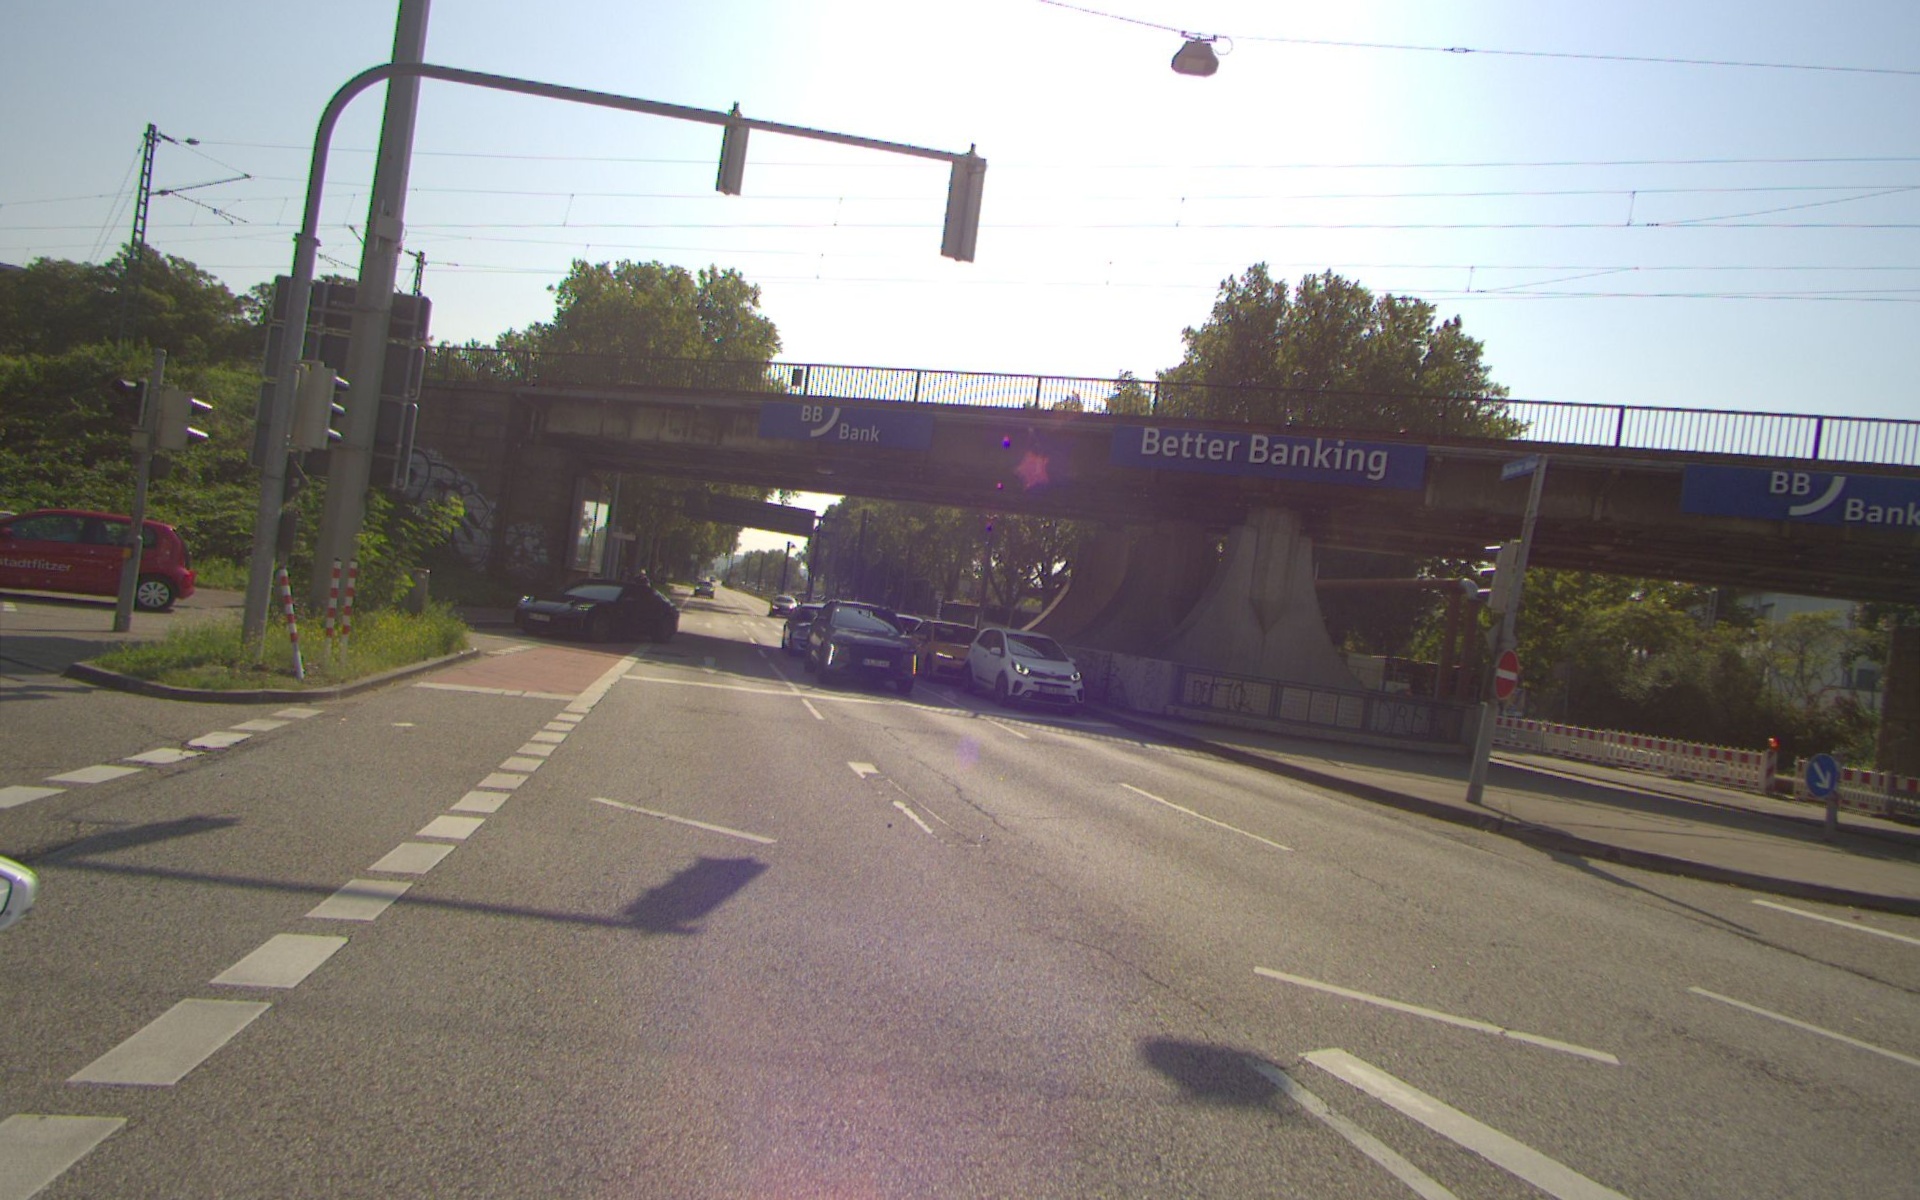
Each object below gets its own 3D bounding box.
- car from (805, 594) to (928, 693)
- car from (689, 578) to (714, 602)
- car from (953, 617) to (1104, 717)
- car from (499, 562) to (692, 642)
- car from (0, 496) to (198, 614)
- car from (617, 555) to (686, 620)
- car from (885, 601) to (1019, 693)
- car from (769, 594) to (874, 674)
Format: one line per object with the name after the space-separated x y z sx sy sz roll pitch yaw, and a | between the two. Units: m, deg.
-2.058 0.811 20.851 1.877 1.636 4.465 7 -1 -12 | car
-25.677 -1.032 99.925 1.972 2.036 3.986 11 -2 -17 | car
1.290 1.292 20.632 1.702 1.557 3.682 8 -1 -18 | car
-8.531 0.145 24.121 1.962 1.480 4.891 7 -1 12 | car
-14.410 -0.785 15.997 3.526 1.485 1.626 9 -1 -38 | car
-11.113 -0.463 36.311 1.972 1.869 3.986 11 -2 -17 | car
-0.325 1.107 25.145 1.972 1.592 4.328 9 1 -18 | car
-3.914 0.870 27.667 1.972 1.540 4.328 9 1 -18 | car
